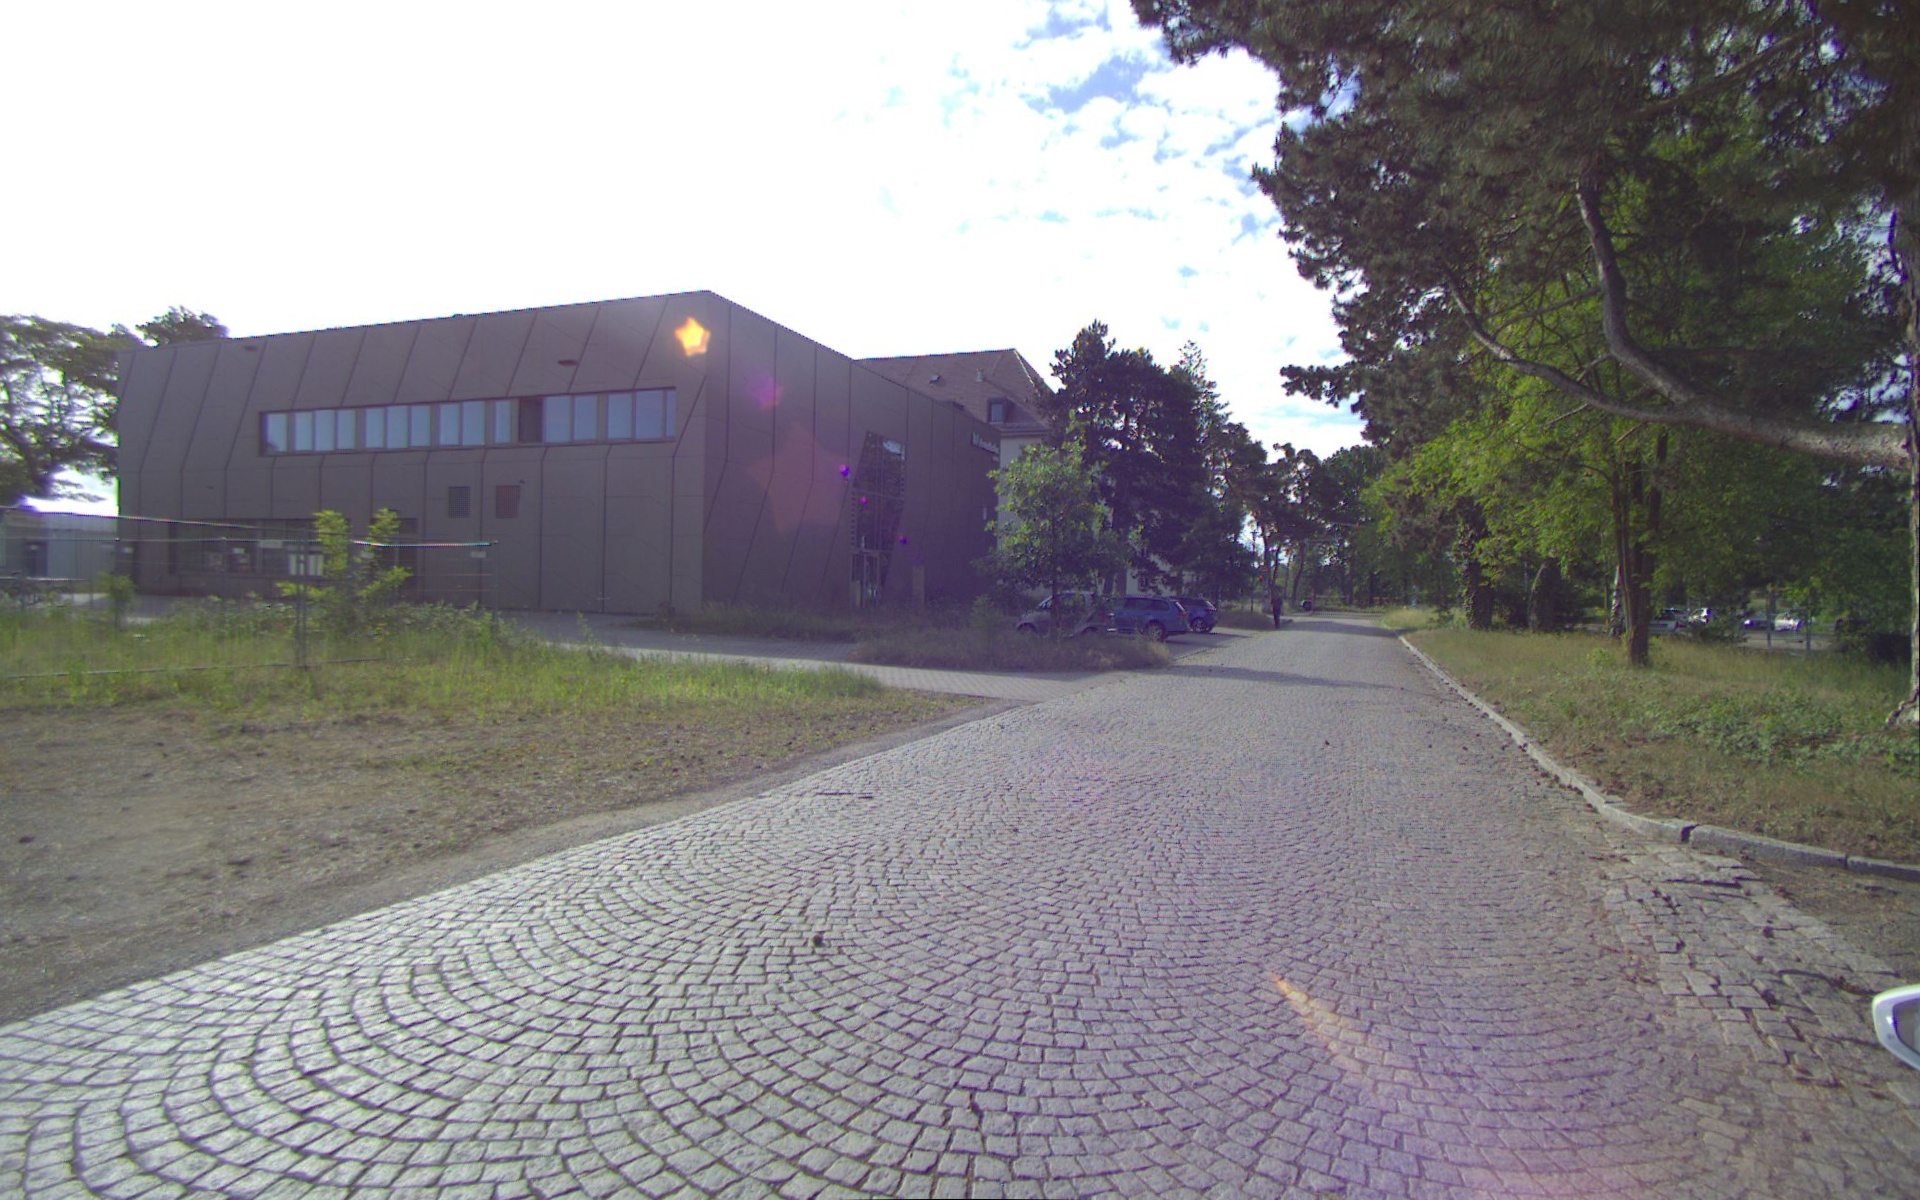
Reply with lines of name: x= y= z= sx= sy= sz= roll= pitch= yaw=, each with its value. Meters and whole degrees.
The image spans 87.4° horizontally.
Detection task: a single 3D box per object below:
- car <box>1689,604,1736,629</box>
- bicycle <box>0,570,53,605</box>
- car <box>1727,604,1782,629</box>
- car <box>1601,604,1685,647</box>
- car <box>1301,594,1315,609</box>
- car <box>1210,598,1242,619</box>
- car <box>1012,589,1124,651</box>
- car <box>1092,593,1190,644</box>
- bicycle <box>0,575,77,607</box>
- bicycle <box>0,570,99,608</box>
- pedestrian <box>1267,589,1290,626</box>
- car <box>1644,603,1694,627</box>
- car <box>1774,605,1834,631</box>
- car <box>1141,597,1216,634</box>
car: x=53.216 y=1.153 z=71.084 sx=1.792 sy=1.639 sz=3.997 roll=1 pitch=1 yaw=24
bicycle: x=-29.573 y=-0.379 z=31.056 sx=0.927 sy=1.058 sz=2.069 roll=2 pitch=1 yaw=20
car: x=55.626 y=1.152 z=70.399 sx=1.961 sy=1.639 sz=3.998 roll=1 pitch=1 yaw=22
car: x=27.676 y=0.996 z=40.840 sx=1.855 sy=1.561 sz=3.999 roll=2 pitch=1 yaw=20
car: x=49.038 y=0.150 z=141.399 sx=1.670 sy=2.040 sz=3.998 roll=2 pitch=1 yaw=22
car: x=21.208 y=0.650 z=80.068 sx=1.961 sy=1.639 sz=3.998 roll=1 pitch=1 yaw=22
car: x=2.959 y=0.519 z=27.506 sx=2.717 sy=1.570 sz=1.423 roll=2 pitch=1 yaw=26
car: x=6.168 y=0.596 z=34.093 sx=3.032 sy=1.476 sz=1.492 roll=4 pitch=1 yaw=17
bicycle: x=-28.600 y=-0.283 z=30.840 sx=0.927 sy=0.934 sz=2.069 roll=2 pitch=1 yaw=20
bicycle: x=-27.478 y=-0.328 z=30.332 sx=0.927 sy=1.101 sz=2.069 roll=2 pitch=1 yaw=20
pedestrian: x=16.298 y=0.382 z=51.482 sx=0.939 sy=1.869 sz=0.956 roll=1 pitch=1 yaw=8
car: x=50.670 y=1.033 z=71.856 sx=1.961 sy=1.639 sz=3.998 roll=1 pitch=1 yaw=22
car: x=58.407 y=1.207 z=69.580 sx=1.961 sy=1.639 sz=3.998 roll=1 pitch=1 yaw=22
car: x=9.338 y=0.654 z=42.901 sx=3.031 sy=1.469 sz=1.492 roll=2 pitch=1 yaw=16
